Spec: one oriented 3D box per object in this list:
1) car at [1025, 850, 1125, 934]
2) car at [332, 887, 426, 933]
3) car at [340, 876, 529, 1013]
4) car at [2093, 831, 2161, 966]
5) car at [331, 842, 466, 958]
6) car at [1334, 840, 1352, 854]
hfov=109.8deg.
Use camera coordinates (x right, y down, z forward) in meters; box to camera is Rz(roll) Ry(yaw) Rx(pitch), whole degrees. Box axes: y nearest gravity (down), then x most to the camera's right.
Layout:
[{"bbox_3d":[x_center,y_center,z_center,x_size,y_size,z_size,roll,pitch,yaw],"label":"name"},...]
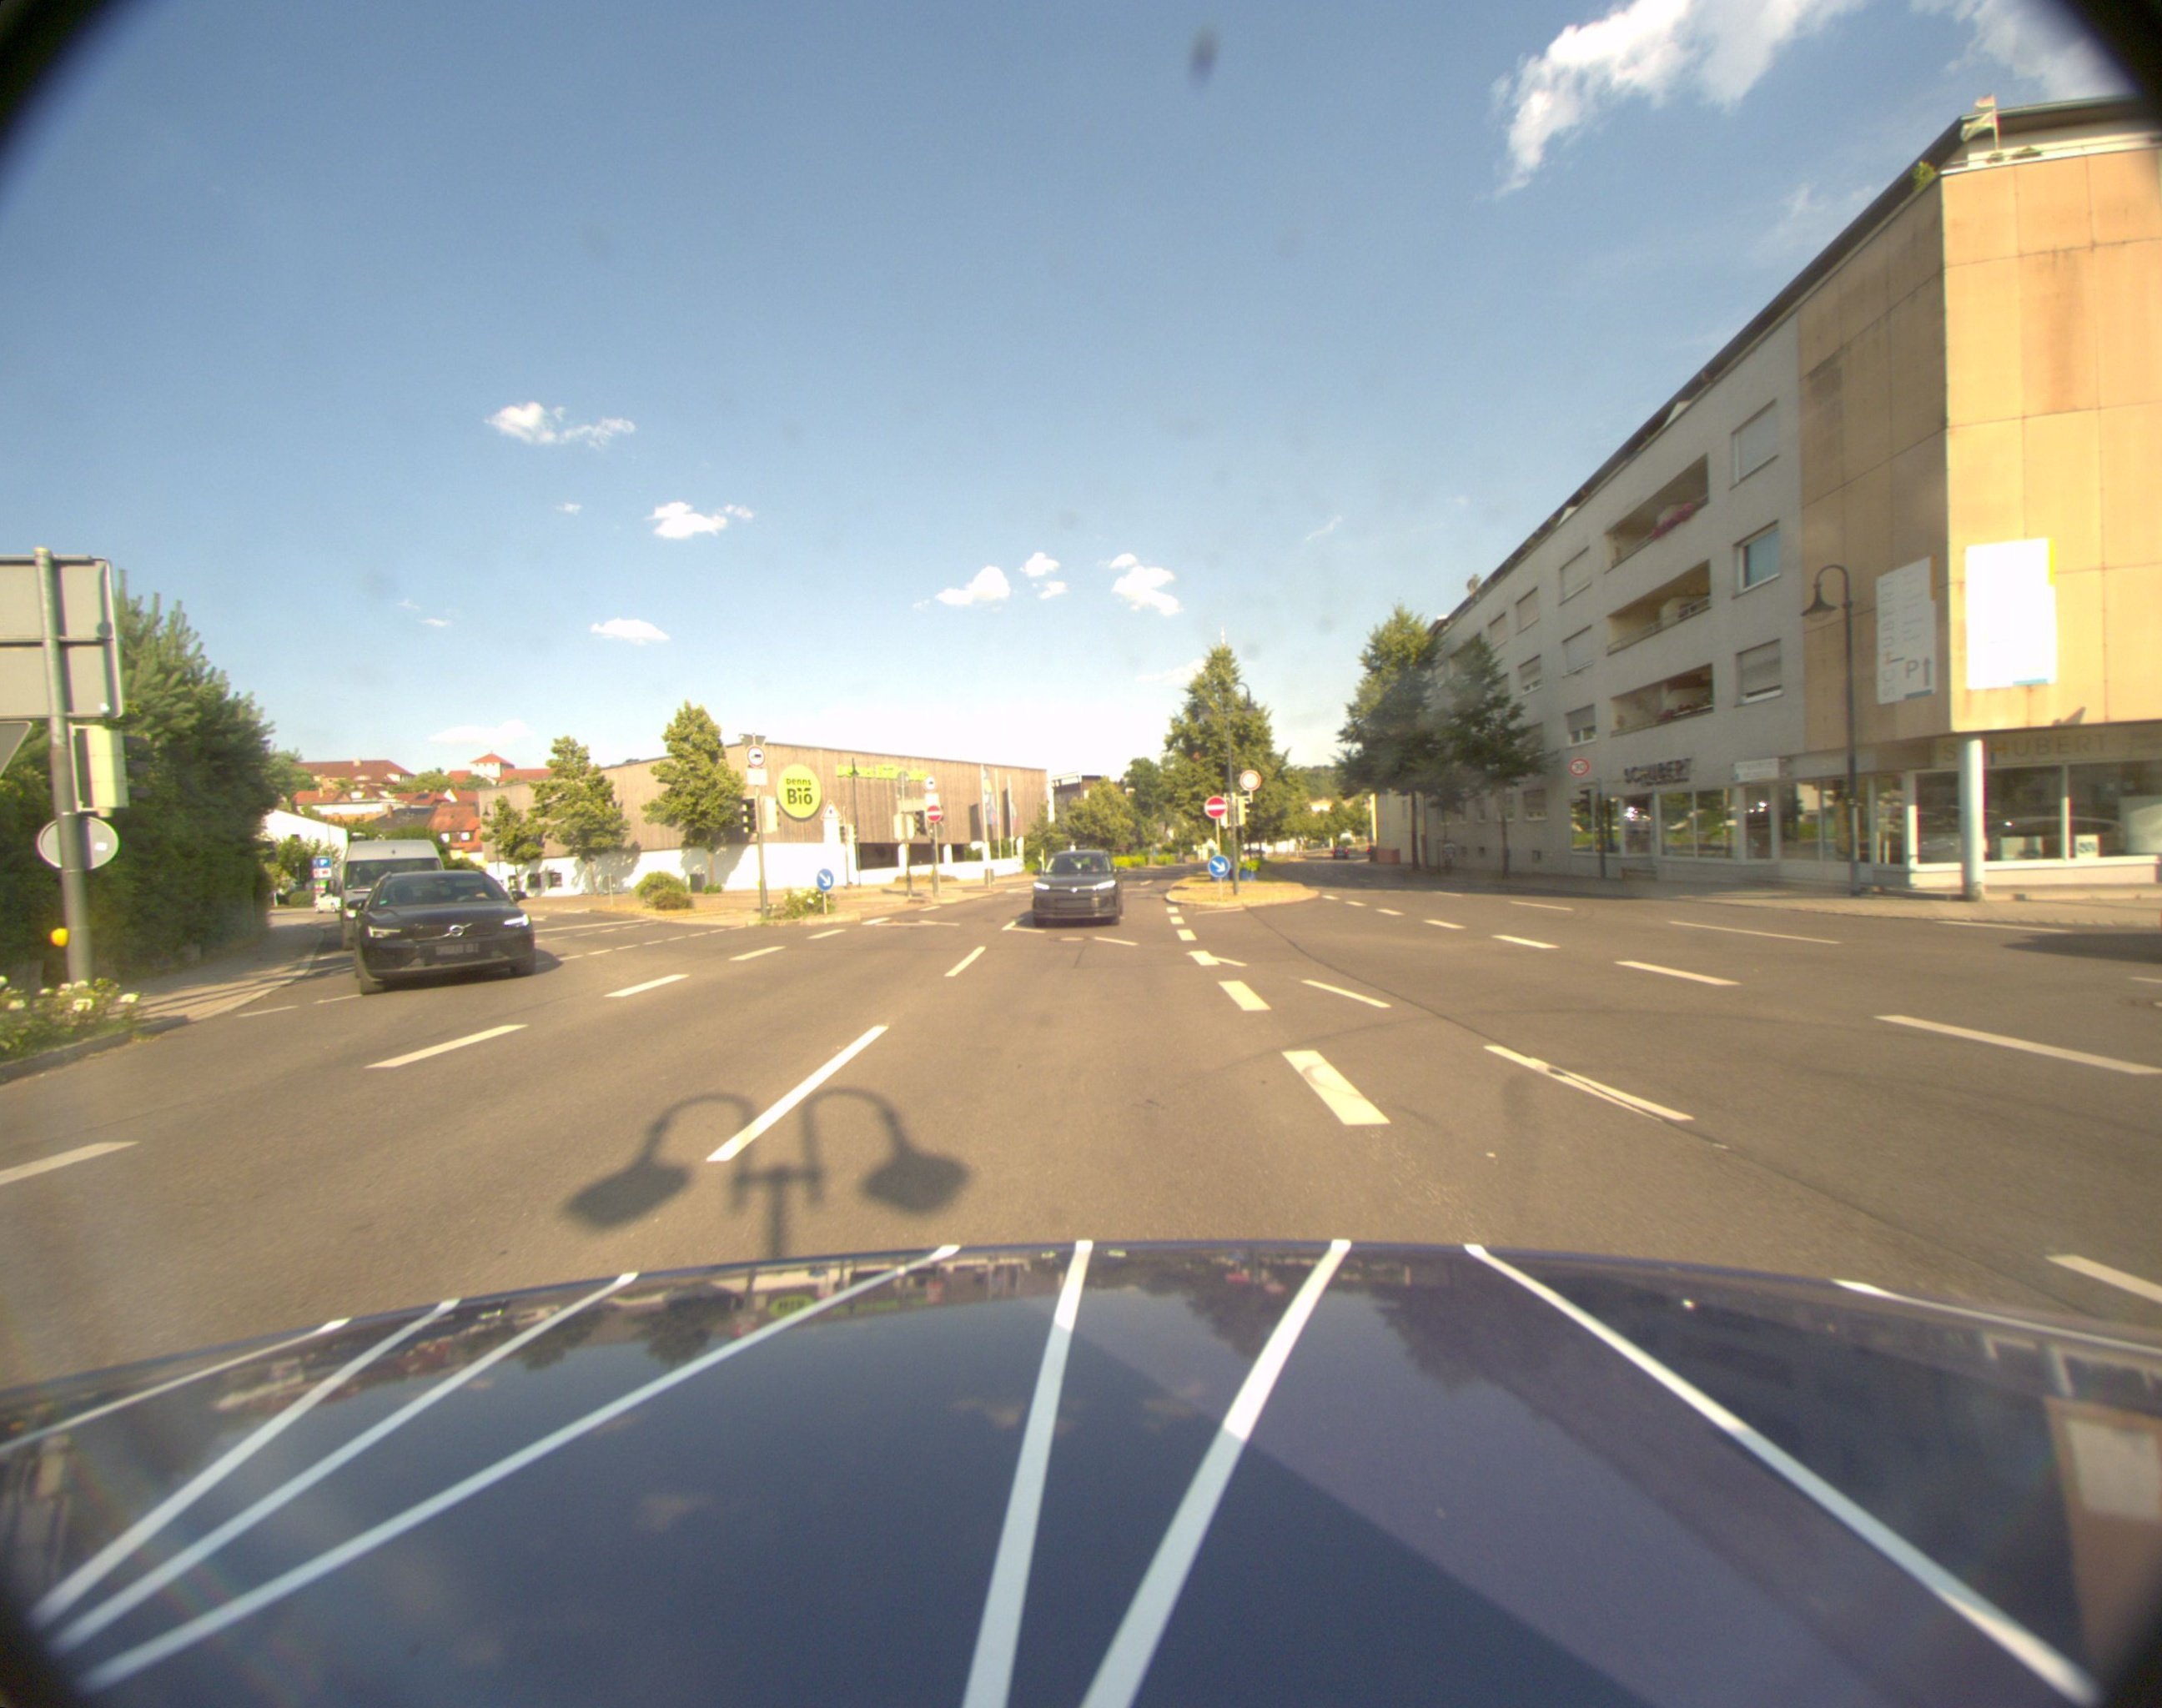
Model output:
[{"bbox_3d":[0.007,0.744,17.153,1.724,1.605,4.262,-1,1,6],"label":"car"},{"bbox_3d":[-25.734,1.975,27.814,3.989,1.444,1.862,-2,0,38],"label":"car"},{"bbox_3d":[-9.663,1.153,11.284,1.796,1.558,4.259,-2,0,-43],"label":"car"},{"bbox_3d":[13.936,0.433,7.626,4.870,1.428,1.917,-1,1,2],"label":"car"},{"bbox_3d":[-17.552,1.049,19.413,2.199,2.507,5.844,-2,1,-45],"label":"car"},{"bbox_3d":[34.256,-0.885,99.229,1.854,1.726,4.930,-1,1,23],"label":"car"}]
